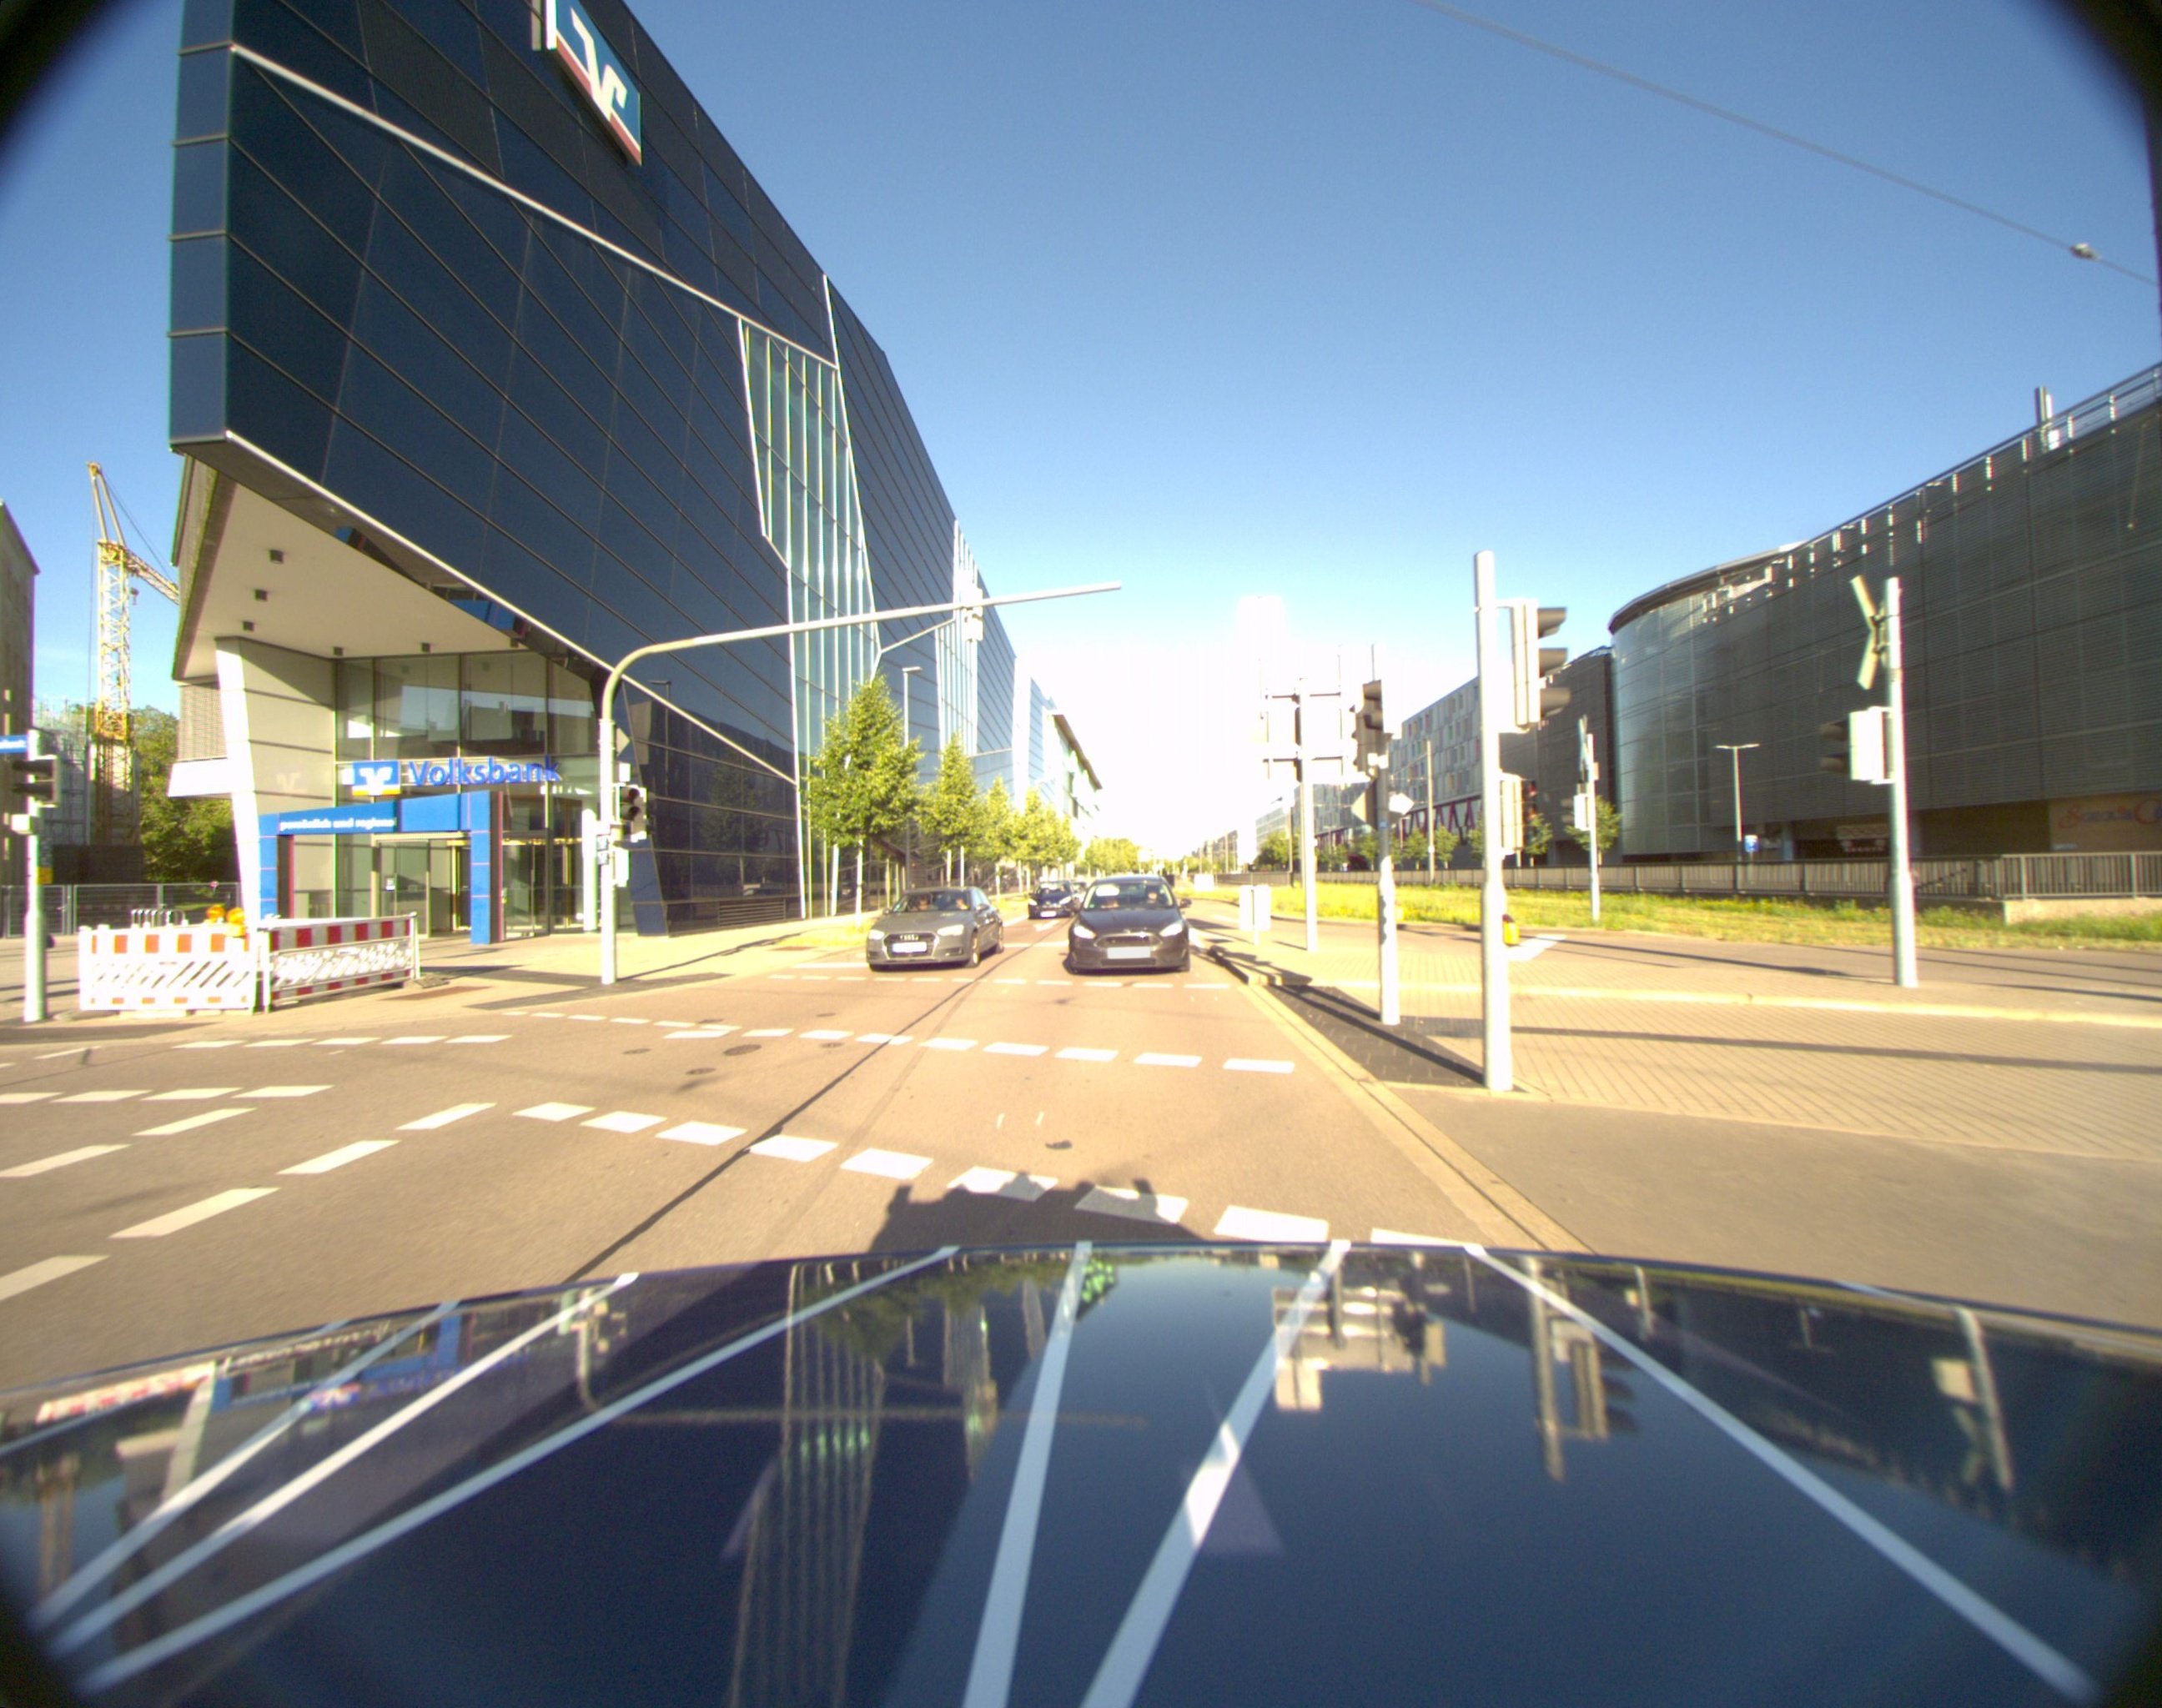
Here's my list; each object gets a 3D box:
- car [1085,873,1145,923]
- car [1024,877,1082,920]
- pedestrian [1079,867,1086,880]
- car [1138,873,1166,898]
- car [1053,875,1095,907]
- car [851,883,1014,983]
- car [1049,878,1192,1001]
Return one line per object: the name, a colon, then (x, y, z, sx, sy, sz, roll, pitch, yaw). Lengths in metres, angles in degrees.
car: (1.307, 1.528, 27.552, 1.907, 1.612, 4.002, -2, -1, 5)
car: (-1.044, 1.725, 30.438, 1.753, 1.469, 3.974, -3, -1, 5)
pedestrian: (0.165, 2.722, 105.473, 0.828, 1.813, 0.905, 2, -1, 5)
car: (5.212, 2.277, 55.490, 1.907, 1.612, 4.002, -2, -1, 5)
car: (-0.294, 1.847, 38.597, 1.753, 1.469, 3.420, -3, -1, 5)
car: (-2.515, 1.323, 13.997, 1.749, 1.383, 4.266, -3, -1, 5)
car: (0.702, 1.166, 11.937, 1.787, 1.498, 4.592, -1, -1, 5)
